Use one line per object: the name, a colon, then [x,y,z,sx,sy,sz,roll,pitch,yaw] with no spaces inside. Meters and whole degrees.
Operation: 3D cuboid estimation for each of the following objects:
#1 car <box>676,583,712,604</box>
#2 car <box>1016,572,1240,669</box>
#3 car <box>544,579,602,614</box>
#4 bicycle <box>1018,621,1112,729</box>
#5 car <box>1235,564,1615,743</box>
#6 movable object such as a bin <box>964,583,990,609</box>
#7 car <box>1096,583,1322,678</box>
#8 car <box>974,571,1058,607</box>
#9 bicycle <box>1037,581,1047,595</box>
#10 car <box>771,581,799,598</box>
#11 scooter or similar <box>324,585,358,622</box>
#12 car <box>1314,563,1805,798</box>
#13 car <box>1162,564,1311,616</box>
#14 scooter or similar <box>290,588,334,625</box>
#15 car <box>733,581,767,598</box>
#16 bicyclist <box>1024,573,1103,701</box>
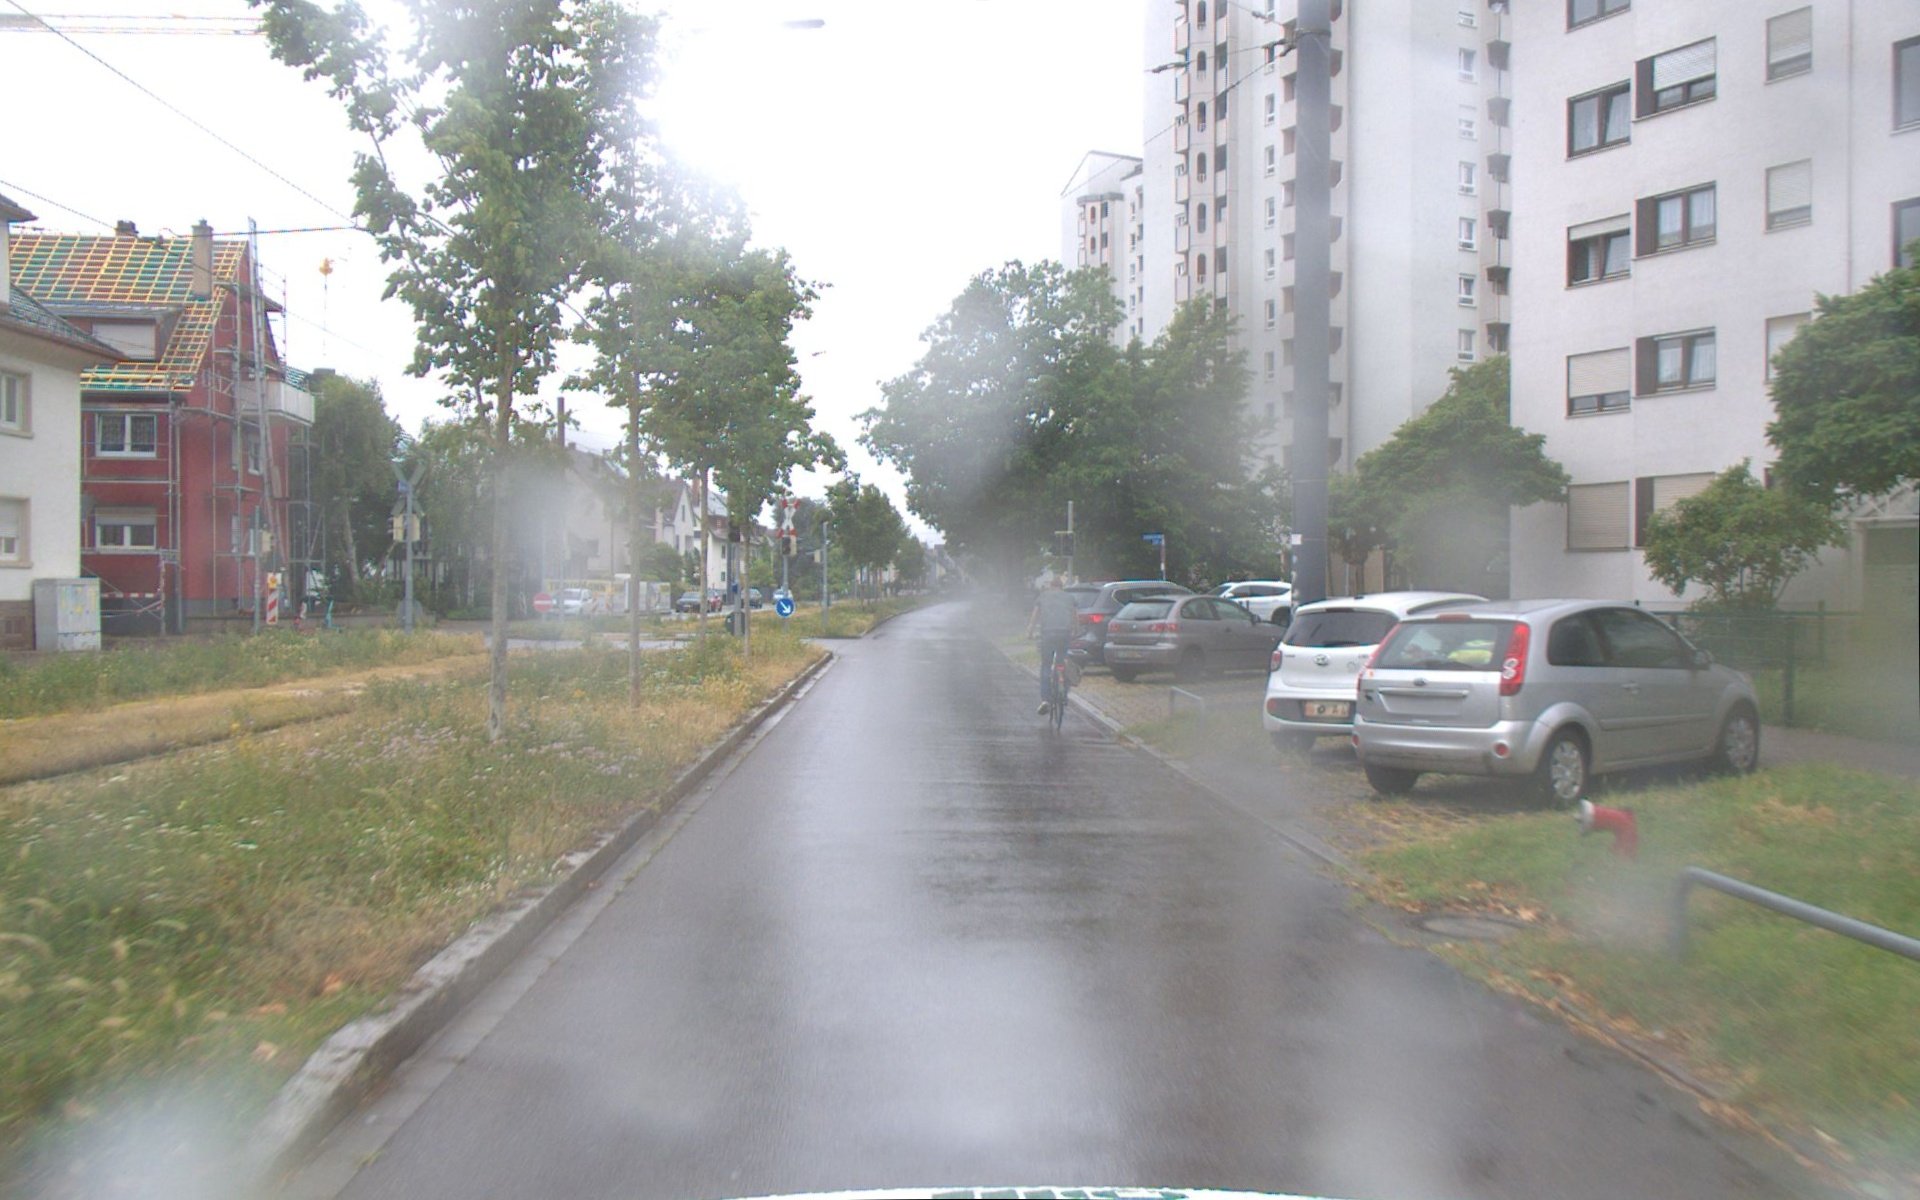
car: [-17.616,-0.437,109.728,1.629,1.266,4.072,2,1,0]
car: [3.232,0.329,31.262,4.314,1.680,1.829,-1,1,-43]
car: [-18.759,-0.201,80.285,1.675,1.569,4.423,2,1,1]
bicycle: [1.203,0.845,19.589,0.793,1.116,2.515,-1,1,-4]
car: [4.658,0.459,16.298,3.964,1.534,1.680,-1,-1,-41]
movable object such as a bin: [1.051,-0.249,103.943,1.110,1.482,1.392,-6,3,-21]
car: [4.285,0.460,28.148,3.967,1.453,1.708,-1,1,-43]
car: [3.054,-0.606,89.894,4.096,1.749,1.978,-4,2,-32]
bicycle: [6.587,-0.992,132.916,0.719,1.075,2.051,0,1,0]
car: [-16.705,-1.014,157.950,1.857,1.495,4.689,2,1,3]
scooter or similar: [-20.355,0.109,54.391,0.385,1.201,1.284,0,0,14]
car: [4.775,0.537,12.972,3.959,1.534,1.760,-1,-1,-38]
car: [9.566,-0.366,57.313,4.724,1.776,1.992,0,1,-16]
scooter or similar: [-20.094,0.194,51.296,0.431,1.149,1.281,0,1,29]
car: [-17.213,-0.888,135.665,1.857,1.266,4.689,2,1,3]
bicyclist: [1.210,0.419,19.522,0.793,1.458,1.059,-1,1,-4]
